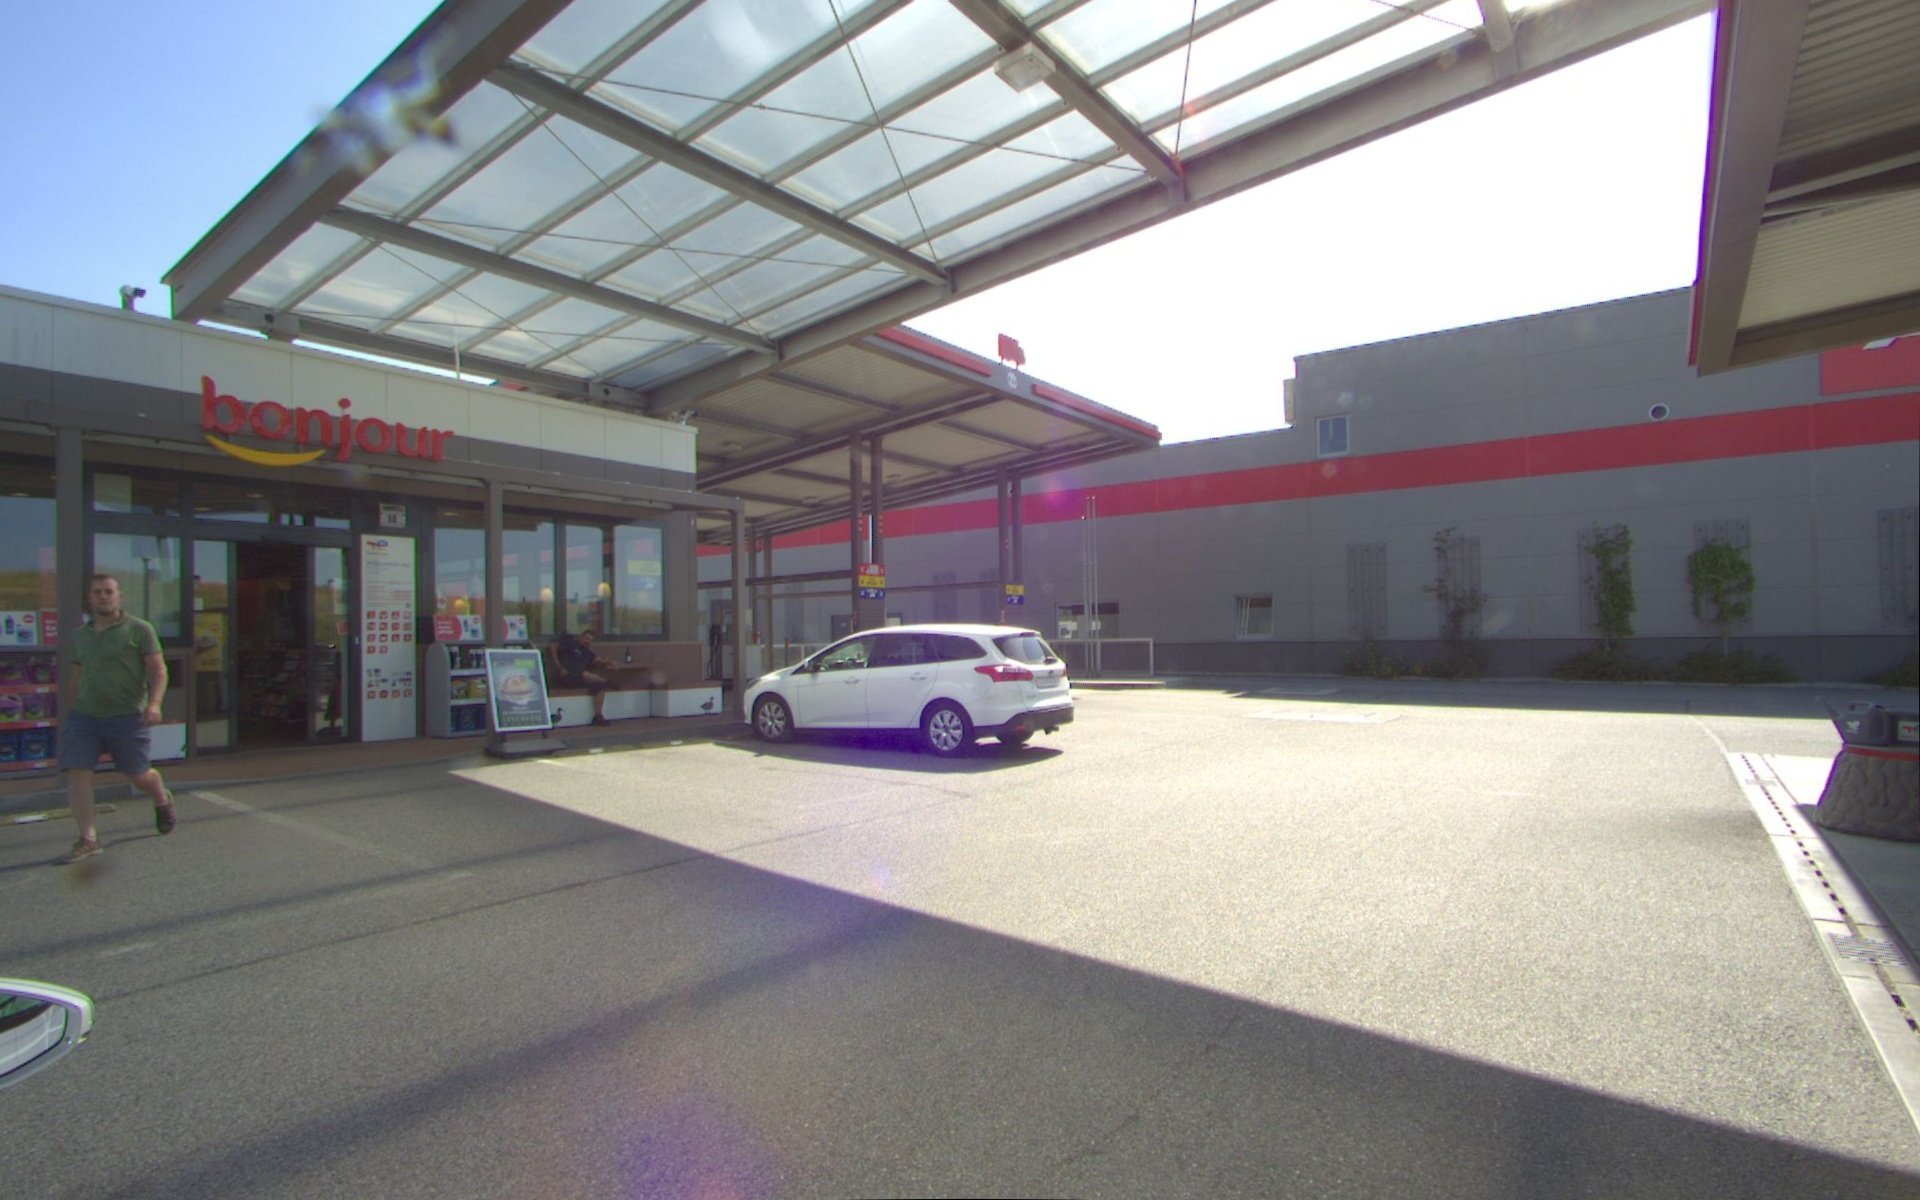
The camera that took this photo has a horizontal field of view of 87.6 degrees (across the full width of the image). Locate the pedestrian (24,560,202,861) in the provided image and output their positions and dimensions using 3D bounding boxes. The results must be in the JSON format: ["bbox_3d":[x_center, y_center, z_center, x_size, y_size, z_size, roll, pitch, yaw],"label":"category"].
[{"bbox_3d":[-5.547,0.683,6.615,0.692,1.820,0.859,0,-1,-25],"label":"pedestrian"}]

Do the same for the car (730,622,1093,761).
[{"bbox_3d":[-0.663,1.030,12.549,4.256,1.475,1.828,-1,-1,30],"label":"car"}]

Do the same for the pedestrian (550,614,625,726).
[{"bbox_3d":[-4.993,0.917,13.449,0.664,1.450,0.699,-1,-1,35],"label":"pedestrian"}]
